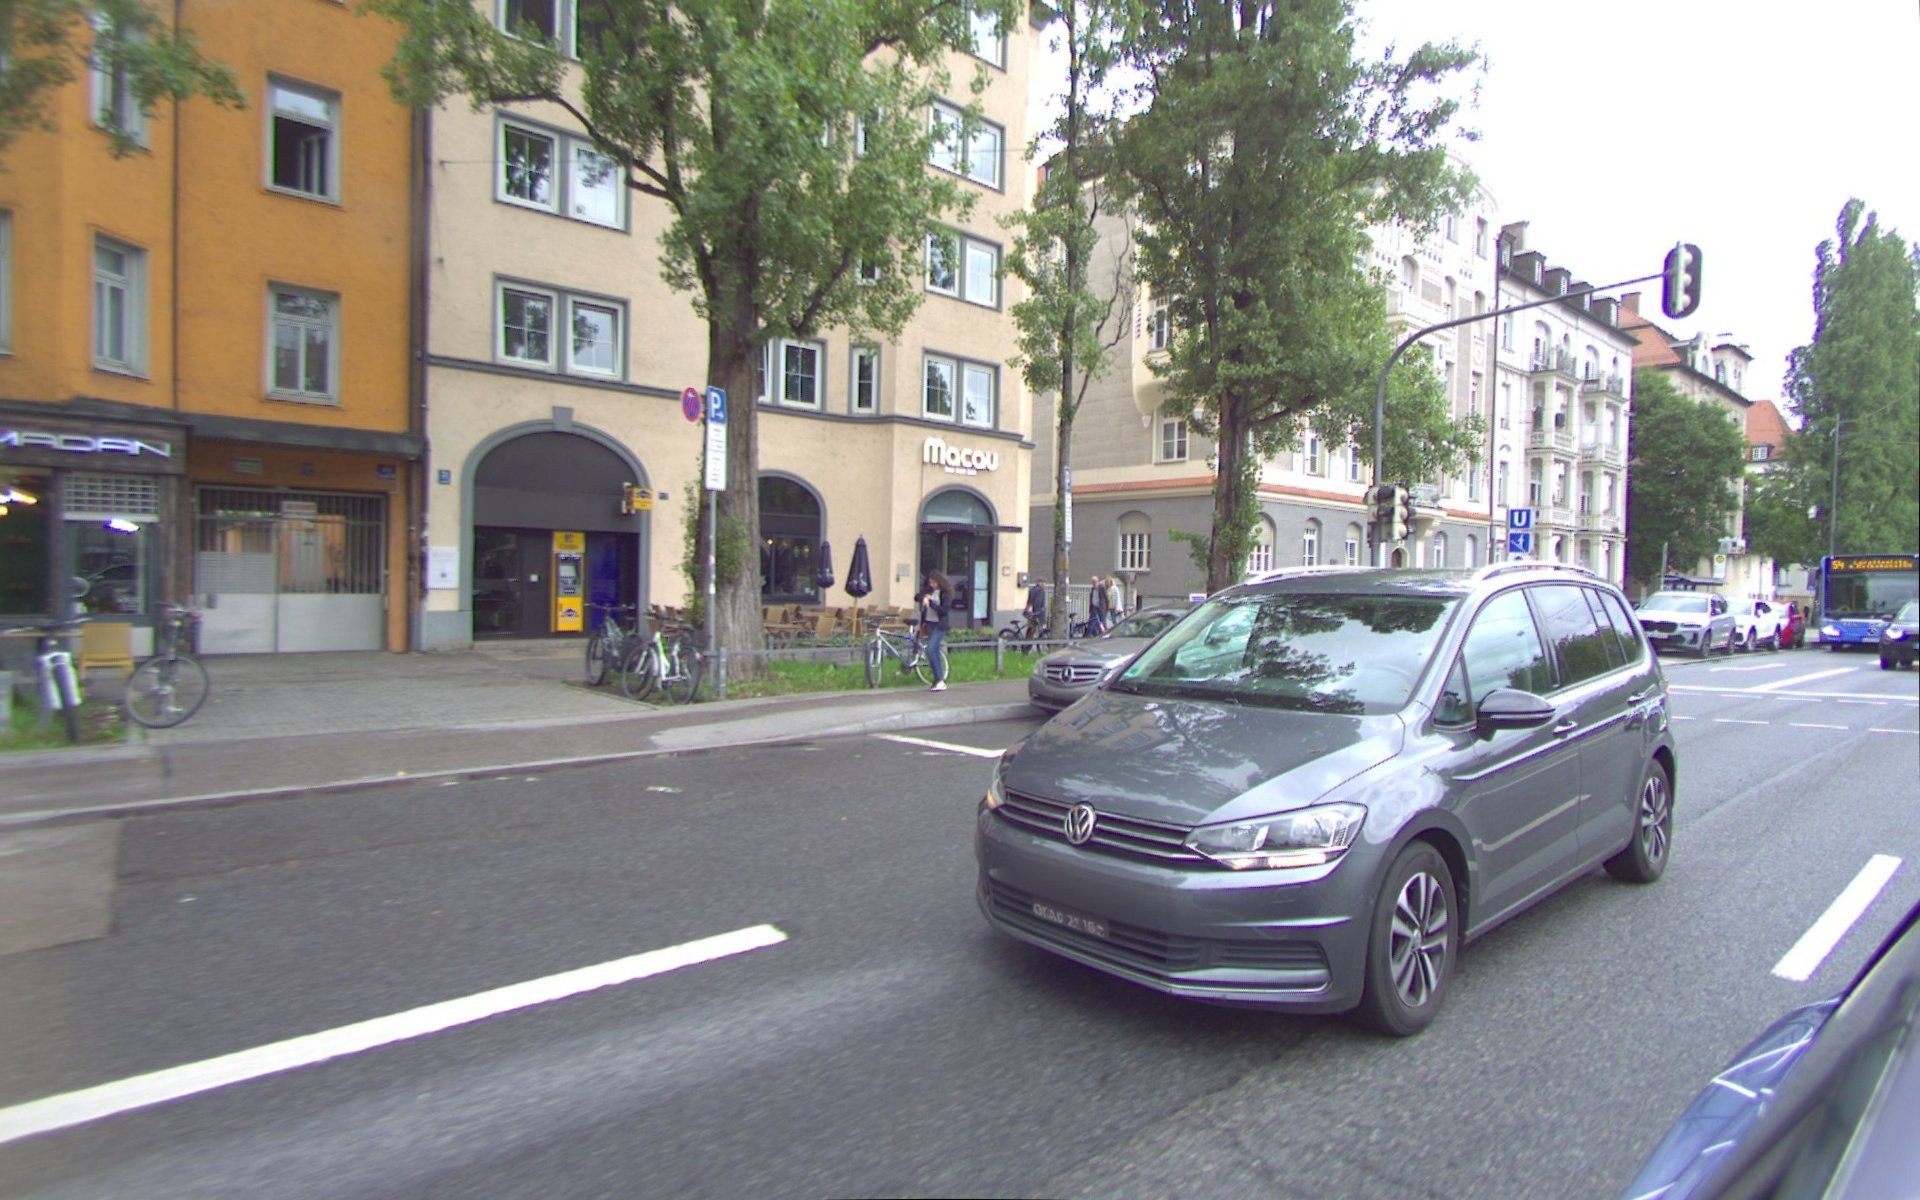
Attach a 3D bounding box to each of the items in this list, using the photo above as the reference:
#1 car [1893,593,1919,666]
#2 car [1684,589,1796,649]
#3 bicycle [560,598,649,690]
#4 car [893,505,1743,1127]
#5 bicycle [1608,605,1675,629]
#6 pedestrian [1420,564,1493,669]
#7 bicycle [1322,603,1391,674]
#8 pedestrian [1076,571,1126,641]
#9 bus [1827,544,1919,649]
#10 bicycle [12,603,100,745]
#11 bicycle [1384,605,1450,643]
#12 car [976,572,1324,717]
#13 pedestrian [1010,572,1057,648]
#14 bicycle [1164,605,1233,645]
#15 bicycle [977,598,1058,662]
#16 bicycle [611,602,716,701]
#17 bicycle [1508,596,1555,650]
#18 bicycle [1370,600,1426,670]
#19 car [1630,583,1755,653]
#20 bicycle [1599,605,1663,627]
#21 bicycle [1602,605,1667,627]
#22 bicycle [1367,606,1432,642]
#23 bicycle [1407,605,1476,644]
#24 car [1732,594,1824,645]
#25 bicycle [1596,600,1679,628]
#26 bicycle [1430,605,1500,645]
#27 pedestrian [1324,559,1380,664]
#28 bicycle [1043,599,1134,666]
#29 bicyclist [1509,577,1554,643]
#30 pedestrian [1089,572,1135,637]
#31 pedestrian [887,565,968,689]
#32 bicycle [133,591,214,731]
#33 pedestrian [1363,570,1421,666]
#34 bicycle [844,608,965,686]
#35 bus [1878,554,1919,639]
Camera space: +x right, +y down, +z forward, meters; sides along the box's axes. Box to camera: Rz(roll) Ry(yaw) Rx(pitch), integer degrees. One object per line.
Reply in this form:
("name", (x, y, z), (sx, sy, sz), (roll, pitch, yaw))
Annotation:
("car", (21.941, 0.596, 22.152), (3.901, 1.523, 1.778), (0, -1, -41))
("car", (23.017, 0.512, 29.826), (3.895, 1.596, 1.730), (0, 2, -39))
("bicycle", (-4.902, 0.566, 13.879), (0.450, 1.127, 1.890), (0, 2, -42))
("car", (2.062, 0.565, 4.890), (4.624, 1.667, 1.775), (0, 0, -40))
("bicycle", (28.485, 0.696, 42.344), (2.307, 0.933, 0.580), (1, 0, 33))
("pedestrian", (8.875, 0.285, 18.102), (0.741, 1.824, 0.883), (1, 0, -30))
("bicycle", (6.936, 0.651, 17.785), (0.352, 1.116, 1.747), (1, 2, -6))
("pedestrian", (3.530, 0.134, 25.318), (0.999, 1.706, 0.747), (0, 1, -40))
("bus", (30.646, -0.097, 32.662), (9.299, 3.012, 2.635), (0, 0, -40))
("bicycle", (-7.960, 0.593, 8.957), (0.450, 1.067, 1.893), (0, 2, -38))
("bicycle", (12.721, 0.668, 28.179), (1.801, 1.036, 0.393), (0, 1, -13))
("car", (2.501, 0.422, 12.621), (4.452, 1.458, 1.996), (0, 2, -43))
("pedestrian", (1.601, 0.205, 22.192), (0.806, 1.622, 0.851), (1, 1, -12))
("bicycle", (5.346, 0.545, 22.719), (0.385, 0.845, 1.574), (0, 1, -42))
("bicycle", (1.068, 0.551, 19.162), (0.439, 1.123, 1.802), (0, 1, -38))
("bicycle", (-3.678, 0.593, 12.462), (0.450, 1.067, 1.890), (0, 2, -42))
("bicycle", (14.498, 0.560, 25.648), (1.746, 1.304, 0.424), (0, 1, -40))
("bicycle", (7.730, 0.592, 17.908), (0.353, 1.116, 1.743), (1, 2, 5))
("car", (19.529, 0.428, 26.909), (4.424, 1.681, 1.736), (0, 2, -41))
("bicycle", (29.341, 0.694, 44.300), (2.312, 0.933, 0.579), (1, 1, 38))
("bicycle", (29.846, 0.692, 44.790), (0.629, 0.933, 2.319), (0, 1, -43))
("bicycle", (12.438, 0.669, 28.659), (1.801, 0.990, 0.393), (0, 1, -13))
("bicycle", (13.159, 0.667, 27.666), (1.801, 1.036, 0.447), (0, 1, -13))
("car", (26.684, 0.595, 32.978), (3.678, 1.527, 1.729), (0, 2, -42))
("bicycle", (28.743, 0.581, 42.980), (2.899, 1.162, 0.633), (1, 0, 33))
("bicycle", (13.562, 0.665, 27.179), (1.801, 1.036, 0.447), (0, 1, -13))
("pedestrian", (6.919, 0.200, 17.887), (0.638, 1.803, 0.702), (1, 0, -7))
("bicycle", (2.234, 0.547, 17.764), (0.439, 1.124, 1.801), (0, -1, -38))
("bicyclist", (14.401, 0.247, 25.511), (0.923, 1.623, 0.681), (0, 1, -40))
("pedestrian", (4.195, 0.103, 27.845), (0.999, 1.735, 0.747), (0, 1, -40))
("pedestrian", (-0.435, 0.341, 13.523), (0.749, 1.582, 0.762), (1, 0, -39))
("bicycle", (-7.662, 0.531, 9.872), (0.571, 1.188, 1.892), (0, 2, -38))
("pedestrian", (7.693, 0.306, 18.061), (0.743, 1.658, 0.700), (1, 0, 7))
("bicycle", (-0.745, 0.619, 13.909), (1.624, 0.977, 0.590), (0, 2, -40))
("bus", (37.345, -0.120, 38.433), (8.383, 3.012, 2.635), (0, 0, -40))
